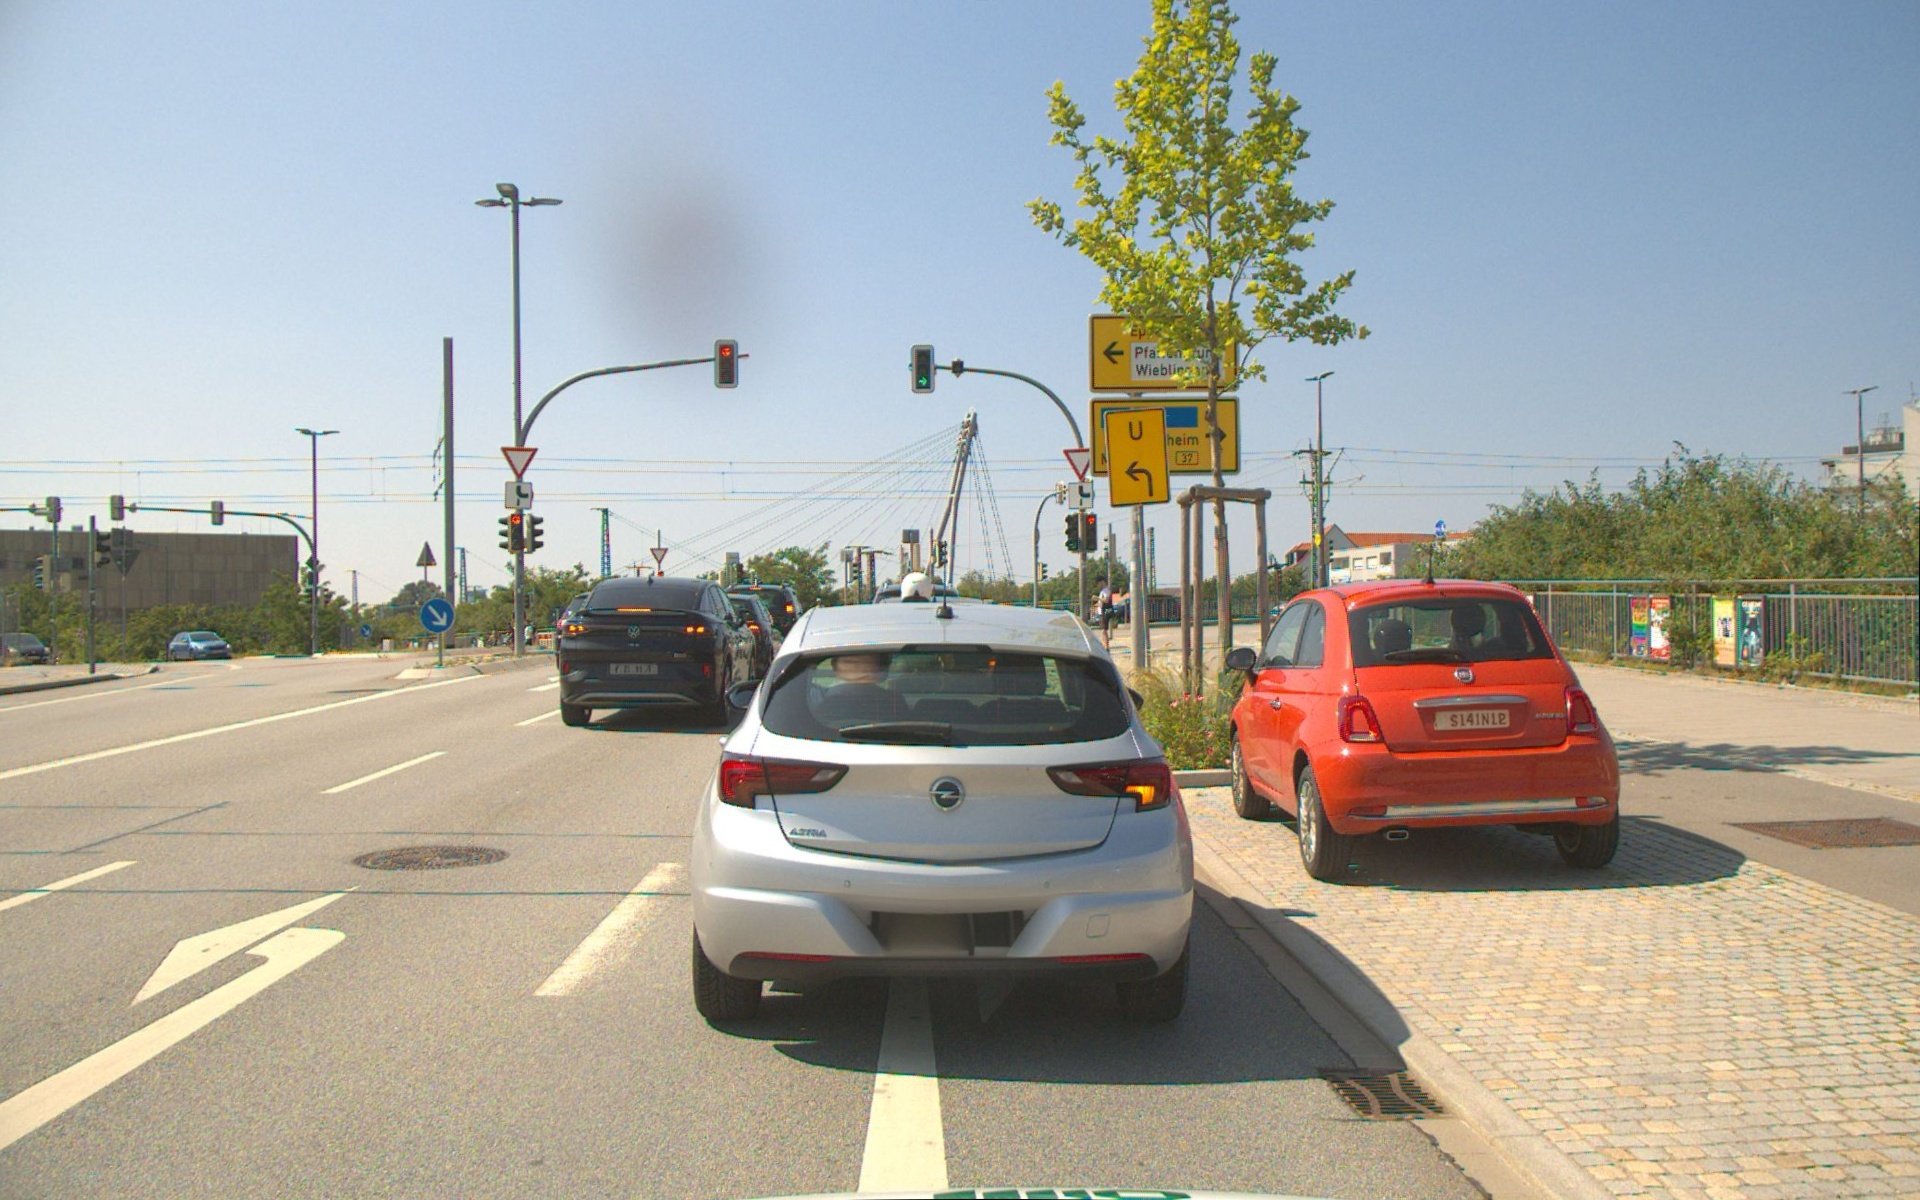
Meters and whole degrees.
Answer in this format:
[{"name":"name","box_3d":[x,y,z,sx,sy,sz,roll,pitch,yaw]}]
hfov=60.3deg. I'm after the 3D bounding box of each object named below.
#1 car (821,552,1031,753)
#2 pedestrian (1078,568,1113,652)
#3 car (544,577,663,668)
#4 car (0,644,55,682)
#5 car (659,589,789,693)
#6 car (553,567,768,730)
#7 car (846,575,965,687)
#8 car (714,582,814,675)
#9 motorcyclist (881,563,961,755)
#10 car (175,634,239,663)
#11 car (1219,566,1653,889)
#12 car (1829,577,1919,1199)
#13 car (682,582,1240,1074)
[{"name":"car","box_3d":[-0.350,0.468,17.762,1.953,1.852,4.401,1,1,-1]},{"name":"pedestrian","box_3d":[3.058,0.231,37.360,0.634,1.868,0.797,-1,0,-3]},{"name":"car","box_3d":[-6.588,0.396,30.863,1.565,1.574,3.760,1,0,-3]},{"name":"car","box_3d":[-41.272,2.756,73.107,1.662,1.502,3.358,-1,1,-39]},{"name":"car","box_3d":[-3.583,0.595,25.638,1.543,1.459,3.785,1,0,-2]},{"name":"car","box_3d":[-3.370,0.518,19.396,1.765,1.670,4.365,1,0,-1]},{"name":"car","box_3d":[-0.812,0.413,25.847,1.689,1.591,4.000,1,1,-1]},{"name":"car","box_3d":[-3.689,0.523,31.567,1.616,1.643,3.818,1,0,-3]},{"name":"motorcyclist","box_3d":[-0.302,0.436,12.585,0.570,1.413,0.706,1,-1,-2]},{"name":"car","box_3d":[-36.234,2.318,79.557,1.806,1.354,3.941,1,-2,-40]},{"name":"car","box_3d":[2.597,0.613,9.785,1.577,1.522,3.352,-2,0,0]},{"name":"car","box_3d":[2.921,0.639,1.911,1.627,1.451,3.999,-2,0,-1]},{"name":"car","box_3d":[-0.098,0.719,7.116,1.708,1.503,3.997,1,0,-3]}]
